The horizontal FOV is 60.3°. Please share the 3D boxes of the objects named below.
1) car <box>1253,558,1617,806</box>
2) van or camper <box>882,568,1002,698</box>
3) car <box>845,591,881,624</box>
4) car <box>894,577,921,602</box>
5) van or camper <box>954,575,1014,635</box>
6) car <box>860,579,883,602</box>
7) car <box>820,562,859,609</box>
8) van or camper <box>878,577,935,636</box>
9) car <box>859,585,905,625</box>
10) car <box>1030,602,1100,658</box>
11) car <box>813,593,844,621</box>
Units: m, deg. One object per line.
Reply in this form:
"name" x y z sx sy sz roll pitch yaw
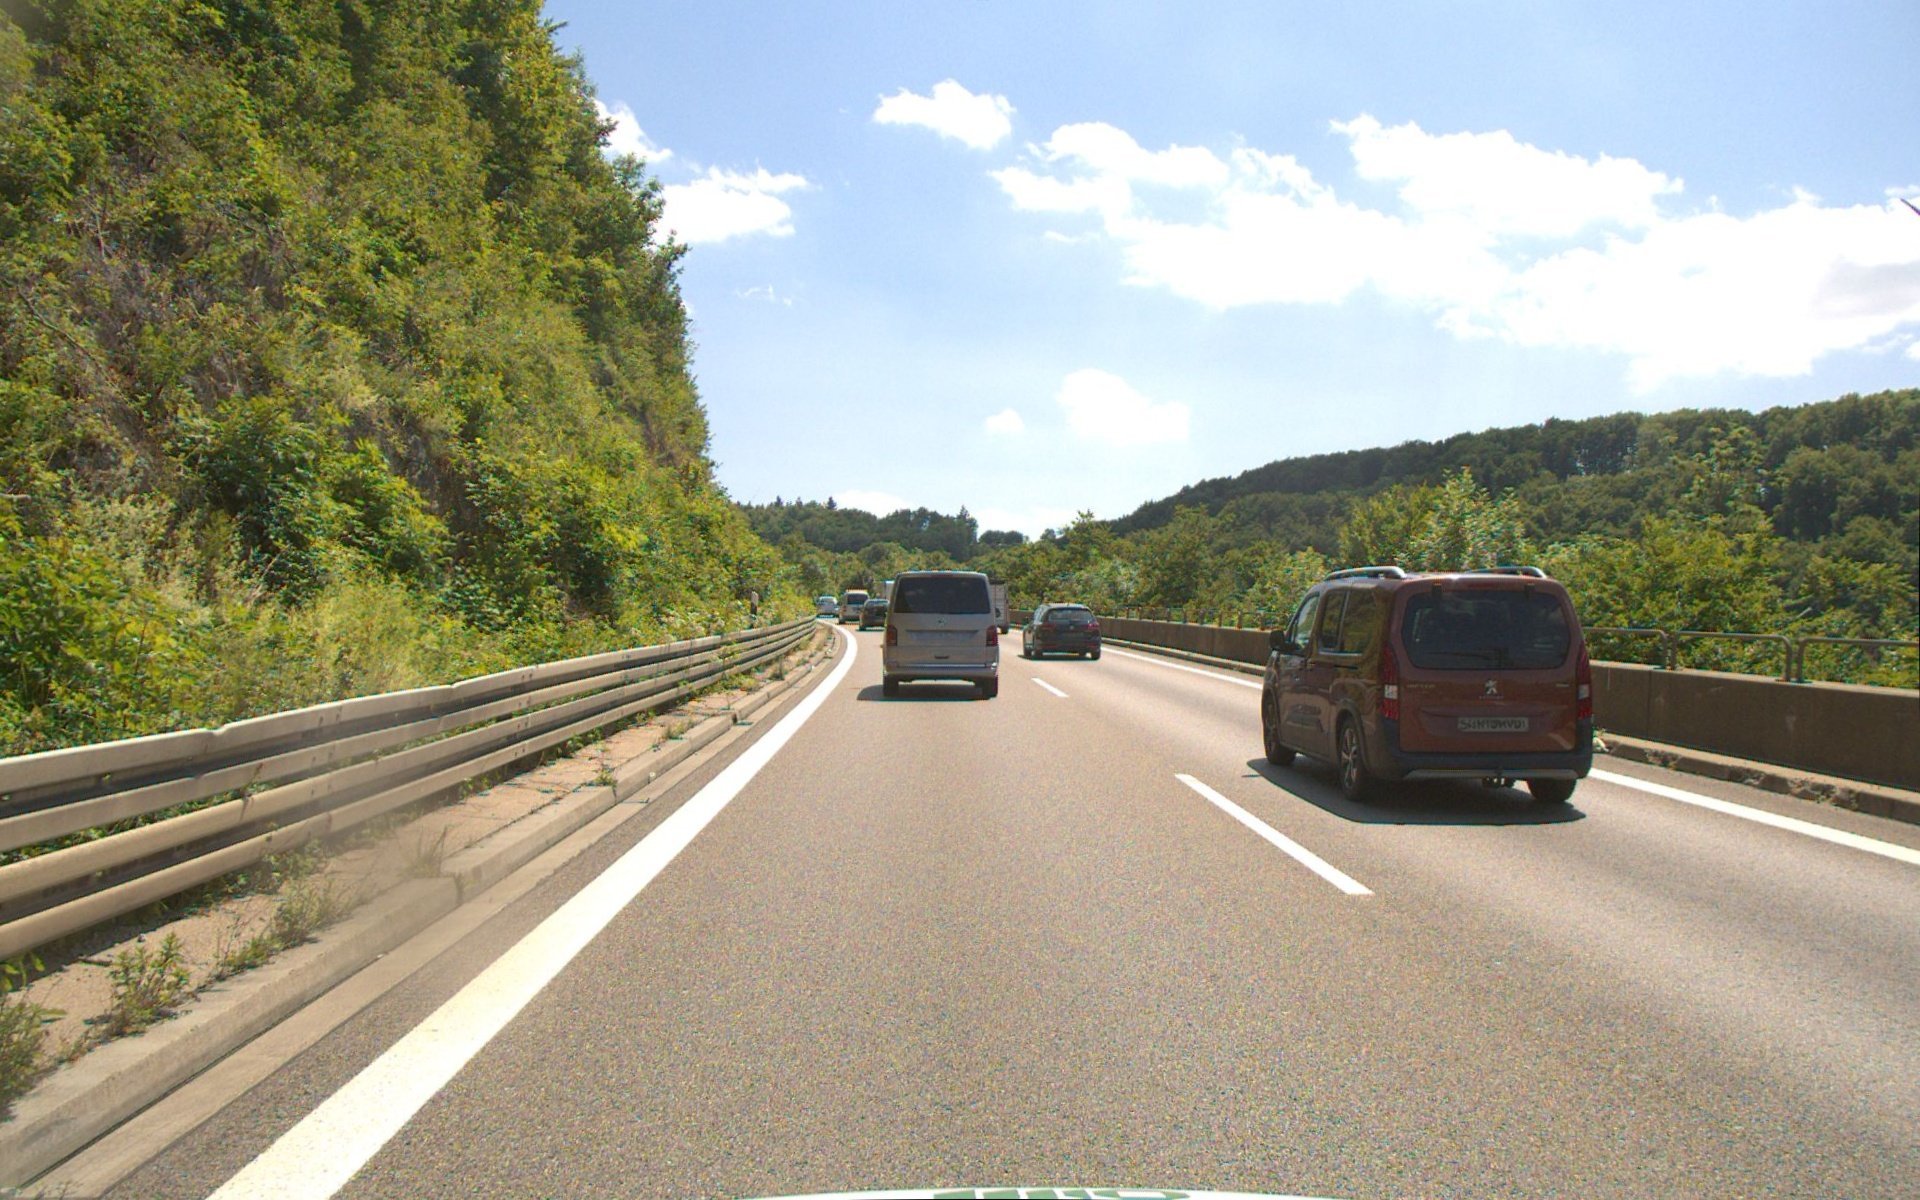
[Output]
"car" 3.906 0.619 14.493 1.796 1.815 4.675 0 -1 -1
"van or camper" -0.348 0.513 27.569 1.838 1.983 4.292 0 0 -2
"car" -5.547 0.409 95.106 1.953 1.849 3.999 1 0 -2
"car" -4.506 -0.887 140.732 1.956 2.049 3.994 1 0 -7
"van or camper" 1.037 0.223 73.823 2.219 2.596 4.731 -1 0 -5
"car" -8.212 -0.885 153.284 1.955 2.049 3.994 1 0 -7
"car" -13.317 -1.591 182.219 3.965 4.956 10.096 1 0 -6
"van or camper" -3.719 0.432 113.100 3.213 3.855 8.100 1 0 -6
"car" -3.782 0.227 79.362 1.955 1.849 3.994 1 0 -6
"car" 2.785 0.771 44.458 1.732 1.400 3.593 1 0 1
"car" -9.355 0.462 117.256 1.956 1.948 3.992 1 0 -8
